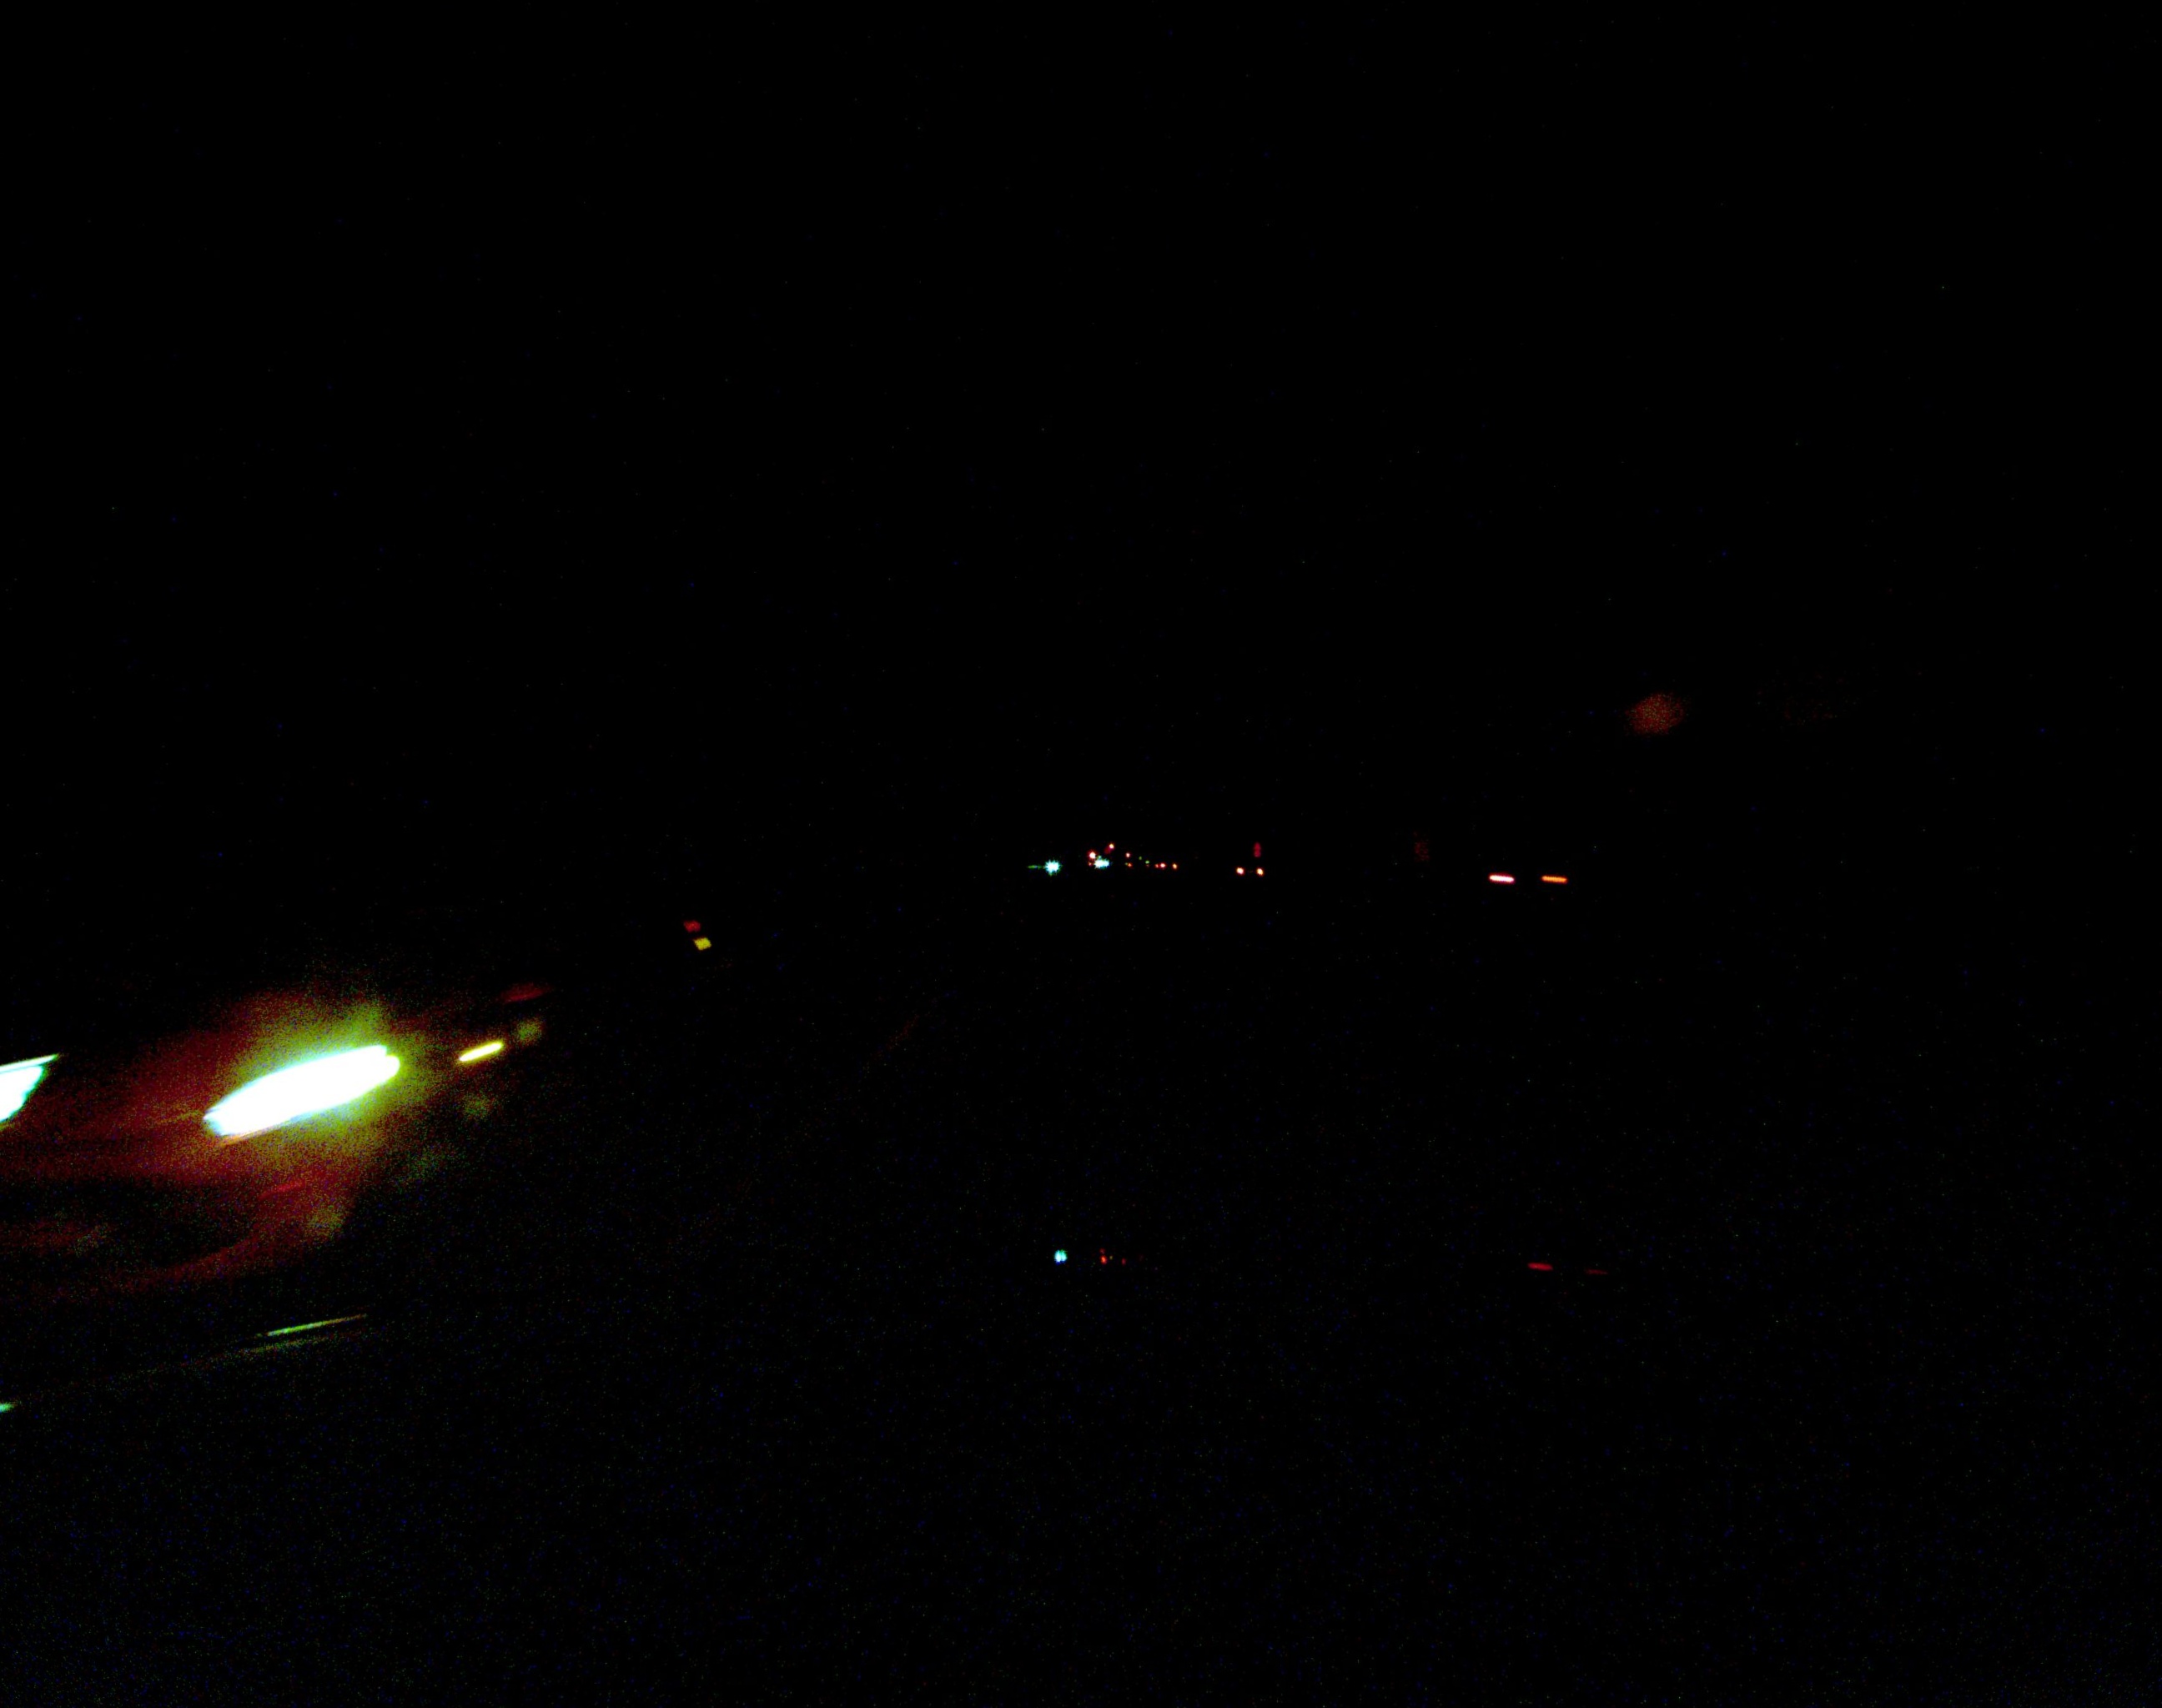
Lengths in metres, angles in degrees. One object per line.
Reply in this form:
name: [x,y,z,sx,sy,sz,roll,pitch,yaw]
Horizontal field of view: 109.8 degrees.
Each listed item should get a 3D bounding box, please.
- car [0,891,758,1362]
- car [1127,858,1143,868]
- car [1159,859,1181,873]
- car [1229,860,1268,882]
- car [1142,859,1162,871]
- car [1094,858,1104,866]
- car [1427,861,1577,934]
car: [-3.467,1.043,4.387,1.657,1.442,3.490,-2,0,0]
car: [9.344,1.511,131.024,2.127,1.544,4.697,-1,0,-4]
car: [10.903,1.502,93.163,2.127,1.621,4.698,-1,0,0]
car: [12.145,1.193,55.323,1.958,1.478,4.699,1,0,3]
car: [10.252,1.568,110.220,2.127,1.544,4.697,-1,0,-4]
car: [3.732,1.638,158.104,1.931,1.510,4.000,-1,0,-1]
car: [9.742,0.942,17.880,1.549,1.511,3.516,1,0,0]
